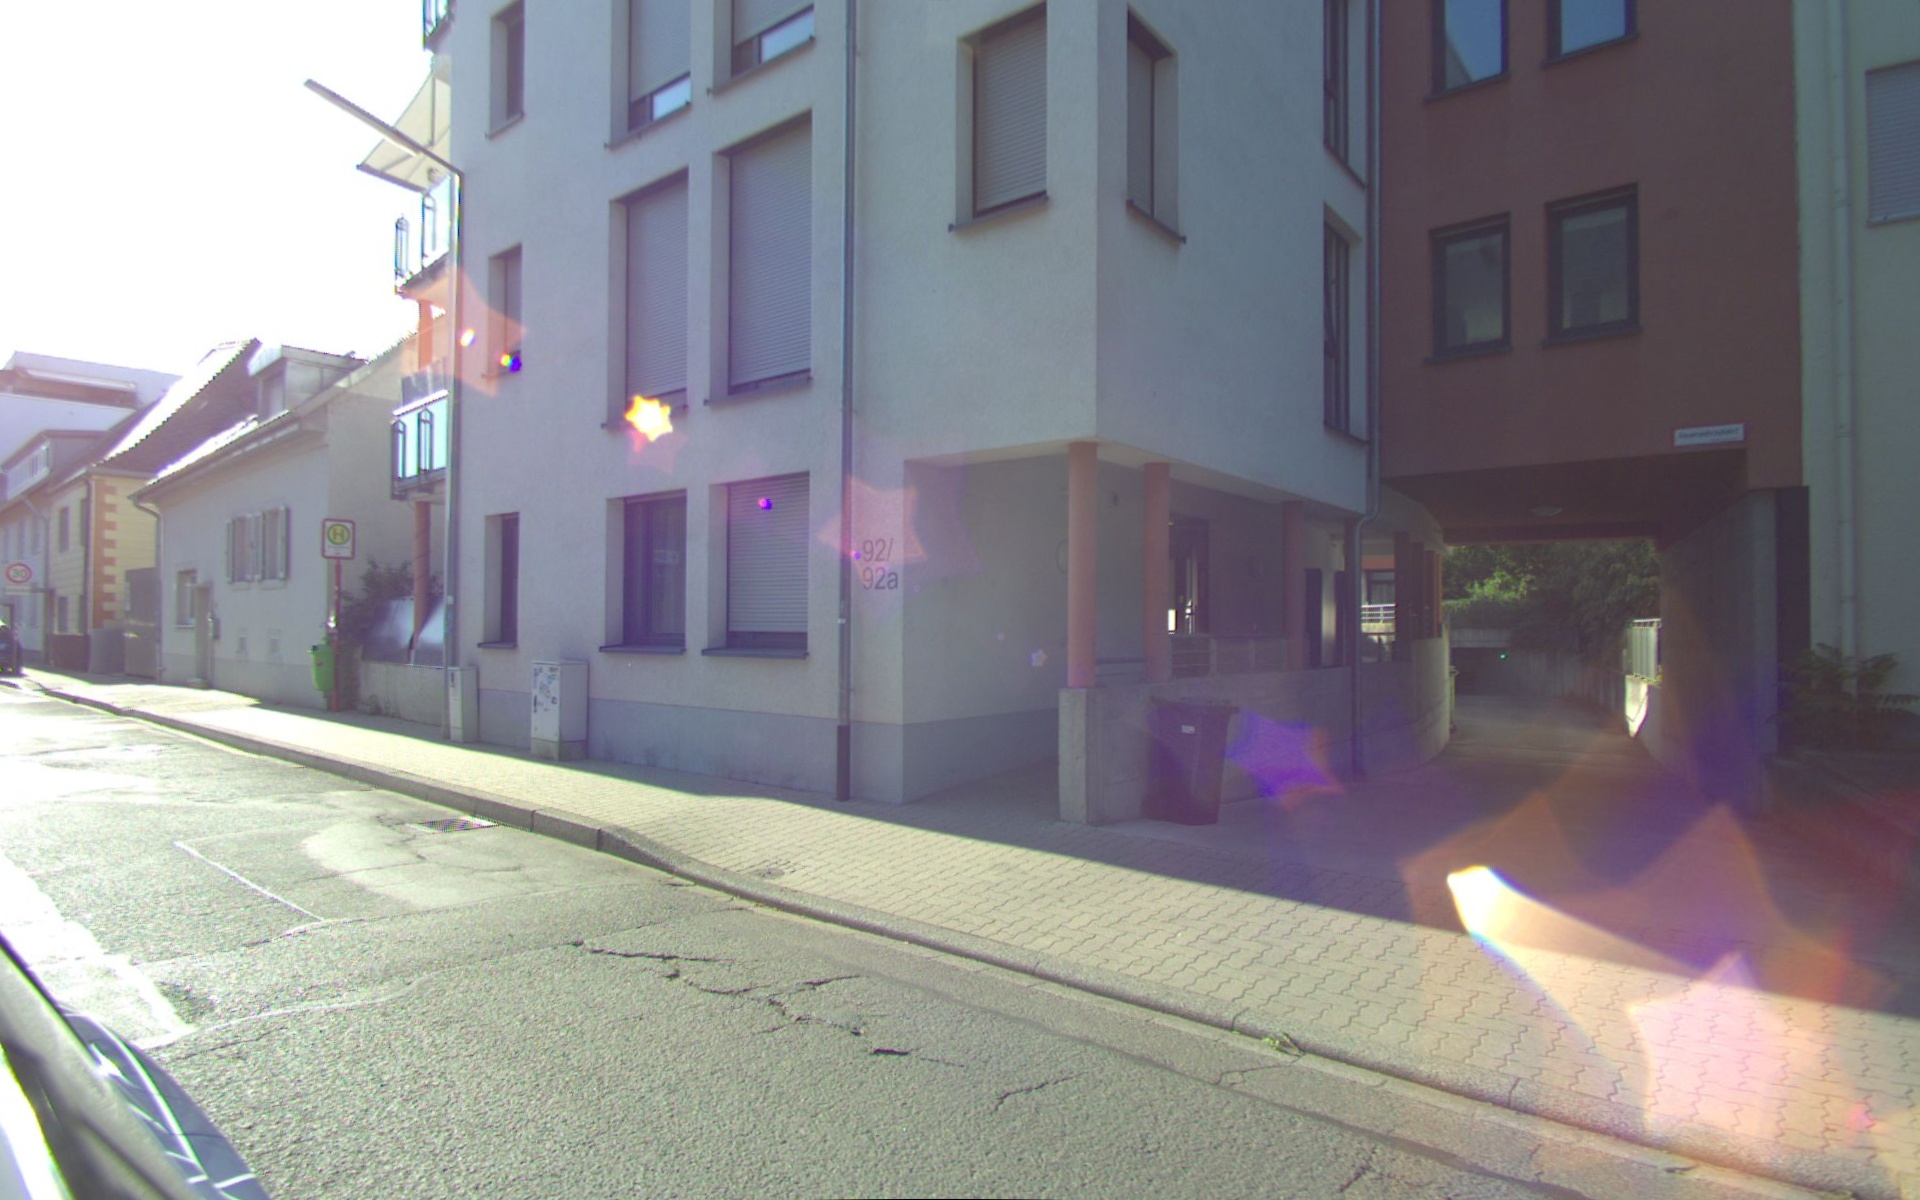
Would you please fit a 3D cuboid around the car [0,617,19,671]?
[{"bbox_3d":[-30.235,1.399,30.782,4.188,1.599,1.791,-3,-2,39],"label":"car"}]
